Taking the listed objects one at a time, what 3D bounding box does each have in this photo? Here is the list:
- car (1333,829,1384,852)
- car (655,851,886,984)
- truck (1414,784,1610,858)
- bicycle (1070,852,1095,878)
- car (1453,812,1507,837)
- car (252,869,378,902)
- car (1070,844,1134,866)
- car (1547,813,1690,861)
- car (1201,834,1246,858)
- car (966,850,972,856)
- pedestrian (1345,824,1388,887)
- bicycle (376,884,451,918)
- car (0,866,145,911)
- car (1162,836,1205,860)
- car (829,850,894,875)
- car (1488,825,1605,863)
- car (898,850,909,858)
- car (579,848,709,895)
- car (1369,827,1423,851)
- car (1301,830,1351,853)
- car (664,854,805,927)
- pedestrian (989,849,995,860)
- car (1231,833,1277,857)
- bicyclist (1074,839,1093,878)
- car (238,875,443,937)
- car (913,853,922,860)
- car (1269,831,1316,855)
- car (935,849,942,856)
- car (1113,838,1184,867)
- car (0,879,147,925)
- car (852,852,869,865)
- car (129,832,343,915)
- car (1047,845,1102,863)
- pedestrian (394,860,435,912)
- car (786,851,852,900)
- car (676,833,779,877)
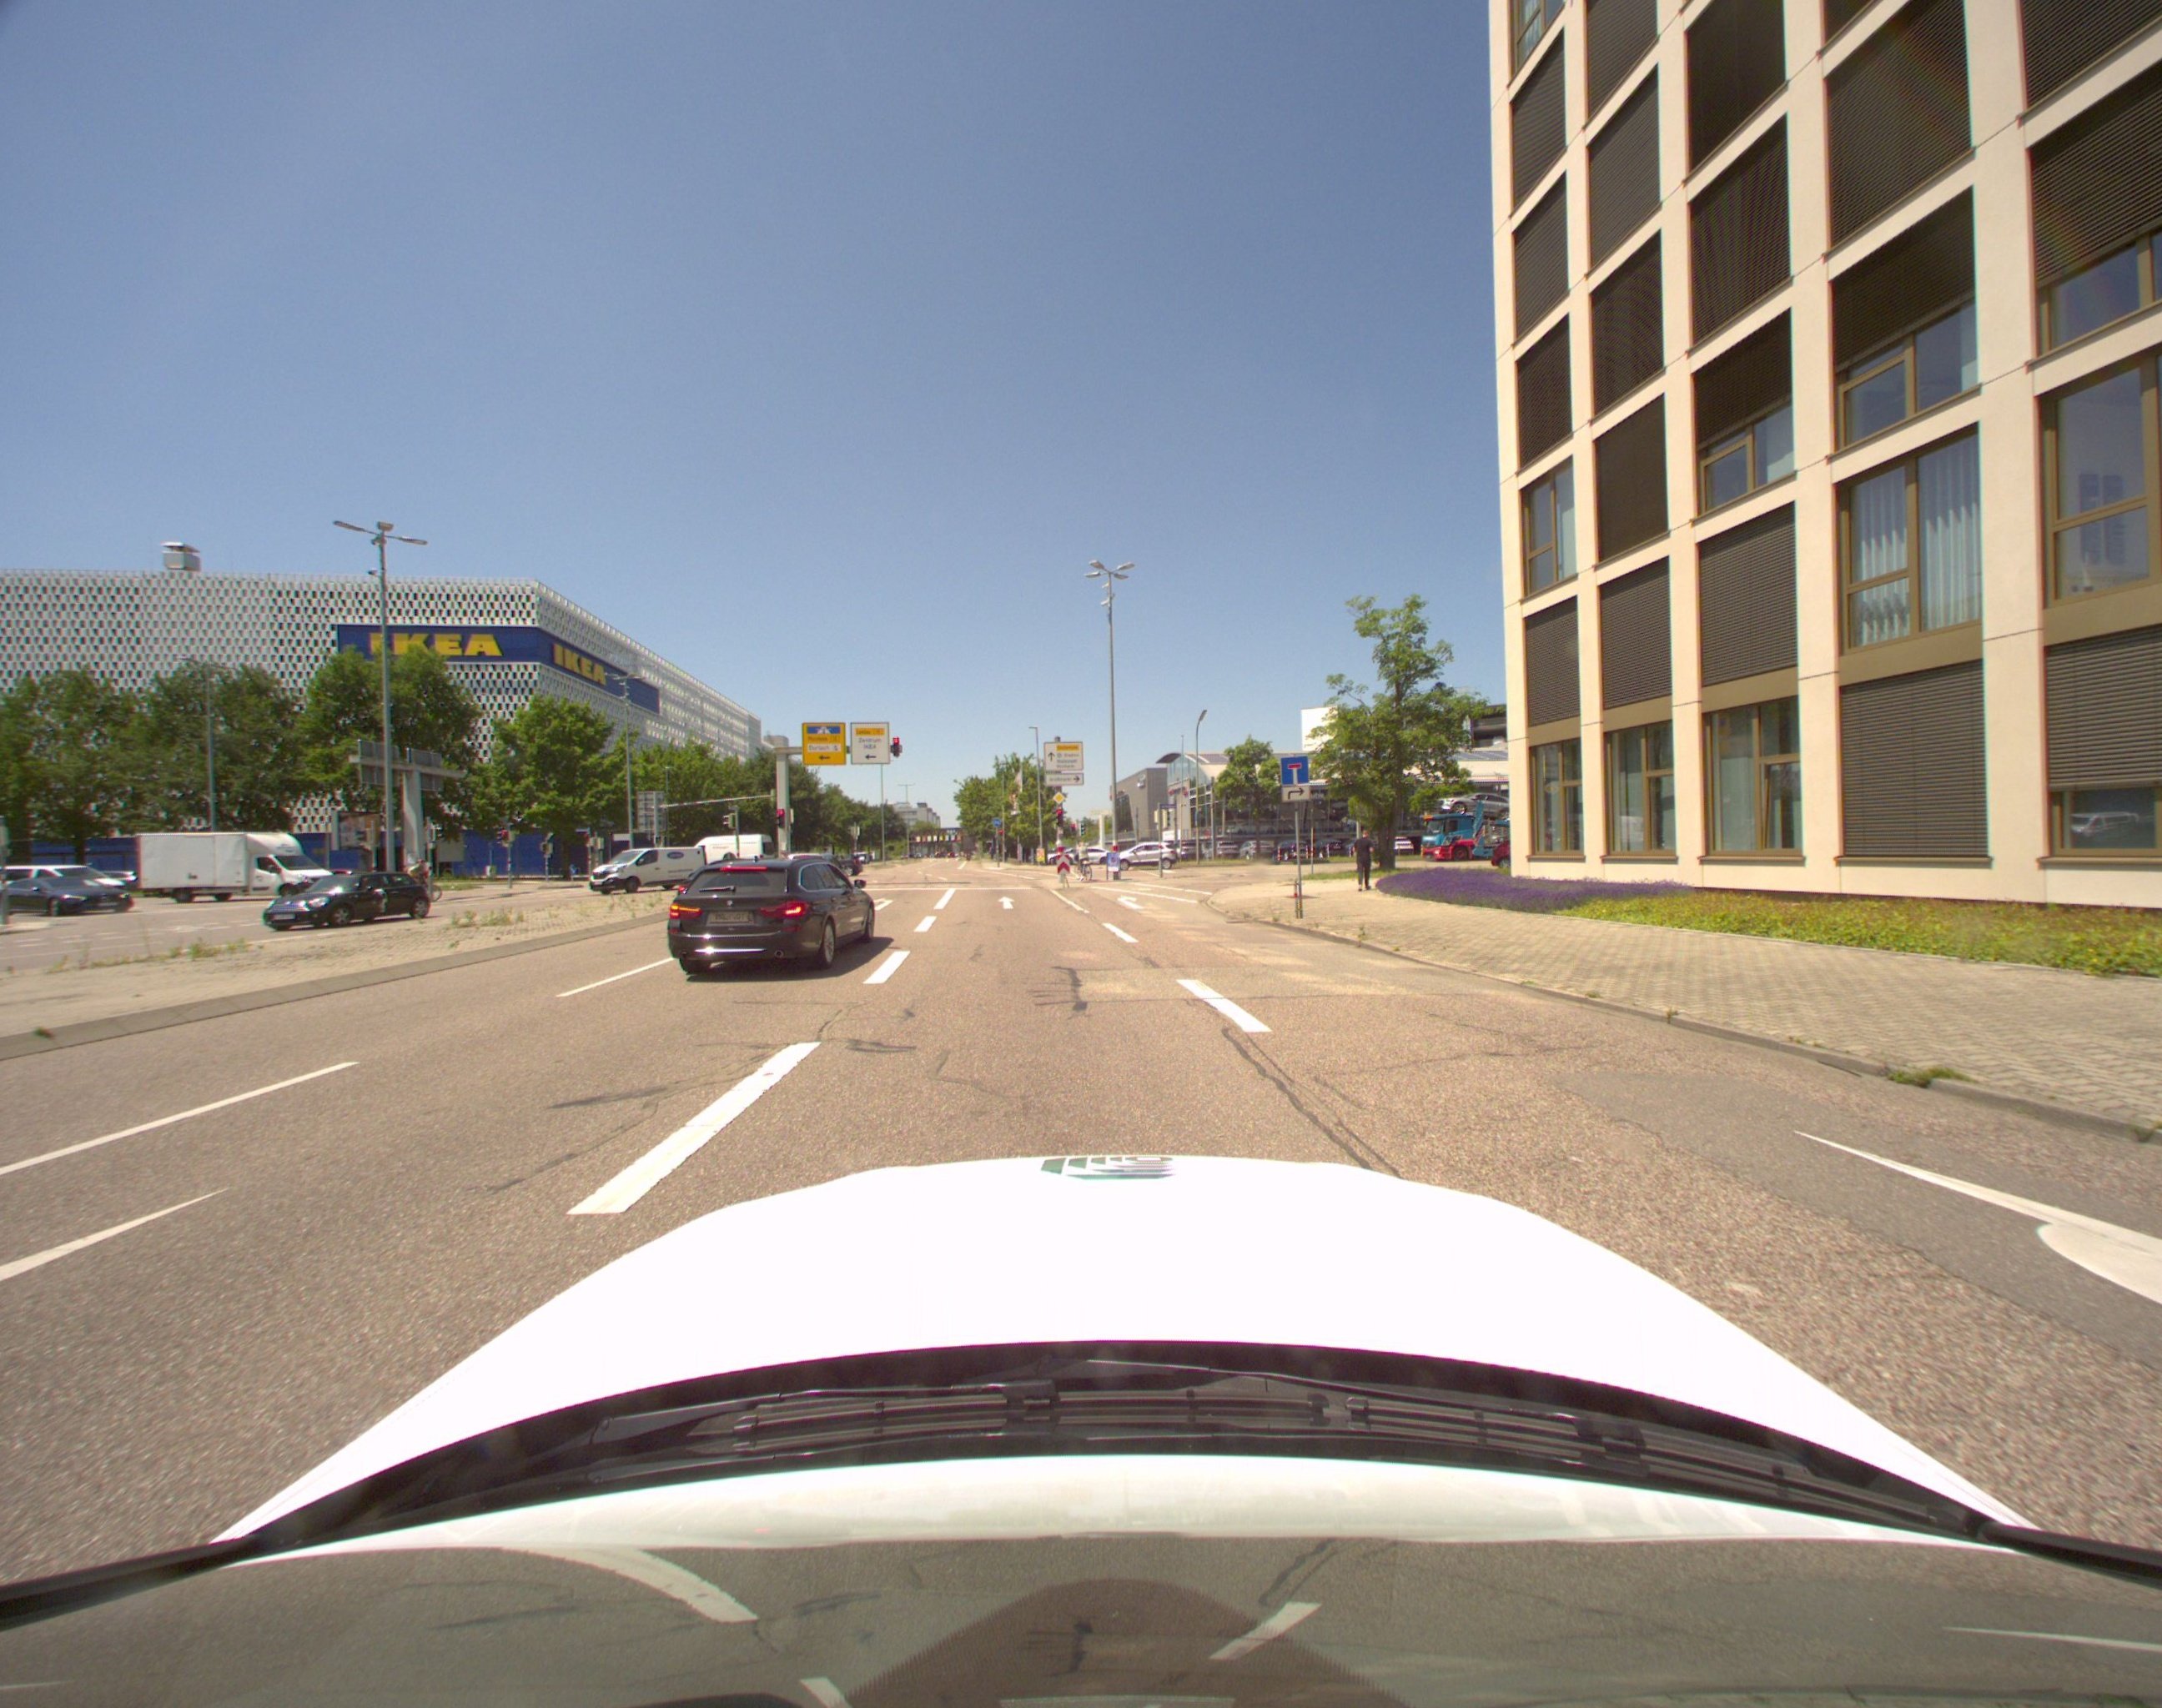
[{"bbox_3d":[20.957,-1.046,61.660,1.826,1.639,4.462,-2,1,-8],"label":"car"},{"bbox_3d":[-4.243,0.742,12.004,1.796,1.465,4.618,-2,1,-3],"label":"car"},{"bbox_3d":[26.313,-2.031,49.917,10.599,4.082,3.096,-2,1,-5],"label":"truck"},{"bbox_3d":[0.066,0.492,37.399,0.787,1.127,1.913,-1,1,-11],"label":"bicycle"},{"bbox_3d":[31.854,-2.342,65.071,3.670,1.777,1.757,-2,1,19],"label":"car"},{"bbox_3d":[-38.245,1.546,40.743,4.278,1.342,1.772,-2,1,-7],"label":"car"},{"bbox_3d":[1.588,0.058,63.099,4.735,1.457,1.996,-2,1,-6],"label":"car"},{"bbox_3d":[22.817,-0.688,34.688,4.843,1.815,1.716,-2,0,40],"label":"car"},{"bbox_3d":[10.461,-0.640,60.090,1.992,1.639,4.429,-2,1,-8],"label":"car"},{"bbox_3d":[-34.051,-0.395,247.355,1.771,1.728,3.989,-2,0,-8],"label":"car"},{"bbox_3d":[8.629,0.053,24.636,0.872,1.844,0.765,-4,0,-35],"label":"pedestrian"},{"bbox_3d":[-27.241,1.893,33.266,2.095,1.212,0.992,-2,2,-14],"label":"bicycle"},{"bbox_3d":[-47.016,1.586,37.368,5.443,1.811,1.997,-2,1,-4],"label":"car"},{"bbox_3d":[7.458,-0.454,59.556,1.992,1.639,4.546,-2,1,-8],"label":"car"},{"bbox_3d":[-12.788,0.468,47.620,3.361,1.357,1.622,-1,0,-4],"label":"car"},{"bbox_3d":[19.349,-0.401,33.964,3.949,1.435,1.620,-2,0,42],"label":"car"},{"bbox_3d":[-45.079,0.027,206.722,1.990,2.014,3.994,-2,-1,-4],"label":"car"},{"bbox_3d":[-19.356,0.707,36.306,1.813,1.850,4.870,-1,1,27],"label":"car"},{"bbox_3d":[23.770,-1.137,61.637,1.826,1.639,4.462,-2,1,-8],"label":"car"},{"bbox_3d":[18.406,-0.943,61.331,1.827,1.639,4.461,-2,1,-9],"label":"car"},{"bbox_3d":[-8.012,0.768,19.301,1.746,1.390,4.524,-1,1,-6],"label":"car"},{"bbox_3d":[-11.733,0.057,107.448,0.667,1.510,0.734,-2,0,-8],"label":"pedestrian"},{"bbox_3d":[12.803,-0.715,60.484,1.884,1.639,4.513,-2,1,-8],"label":"car"},{"bbox_3d":[0.119,0.206,37.201,0.734,1.749,0.751,-1,1,-12],"label":"bicyclist"},{"bbox_3d":[-20.064,1.350,22.332,1.848,1.302,3.897,-3,1,3],"label":"car"},{"bbox_3d":[-46.090,0.699,229.870,1.923,1.665,4.082,-2,0,-5],"label":"car"},{"bbox_3d":[15.726,-0.823,60.861,1.826,1.639,4.462,-2,1,-8],"label":"car"},{"bbox_3d":[-40.267,-0.367,230.149,1.771,1.728,3.989,-2,0,-8],"label":"car"},{"bbox_3d":[4.050,-0.095,49.247,4.178,1.651,1.716,-1,1,2],"label":"car"},{"bbox_3d":[-38.916,1.826,31.217,3.972,1.508,1.934,-2,1,1],"label":"car"},{"bbox_3d":[-37.149,0.747,137.147,1.992,2.007,4.752,-2,0,-7],"label":"car"},{"bbox_3d":[-39.067,0.838,37.847,6.896,3.485,2.178,-2,2,-7],"label":"car"},{"bbox_3d":[-0.610,-0.008,73.451,4.741,1.457,1.994,-2,1,-10],"label":"car"},{"bbox_3d":[-27.217,1.292,33.275,0.906,2.013,0.861,-2,1,-14],"label":"pedestrian"},{"bbox_3d":[-8.769,0.658,27.544,1.800,1.494,3.982,-1,1,-13],"label":"car"},{"bbox_3d":[-21.788,0.035,50.299,5.468,2.566,2.001,-1,0,2],"label":"car"}]
